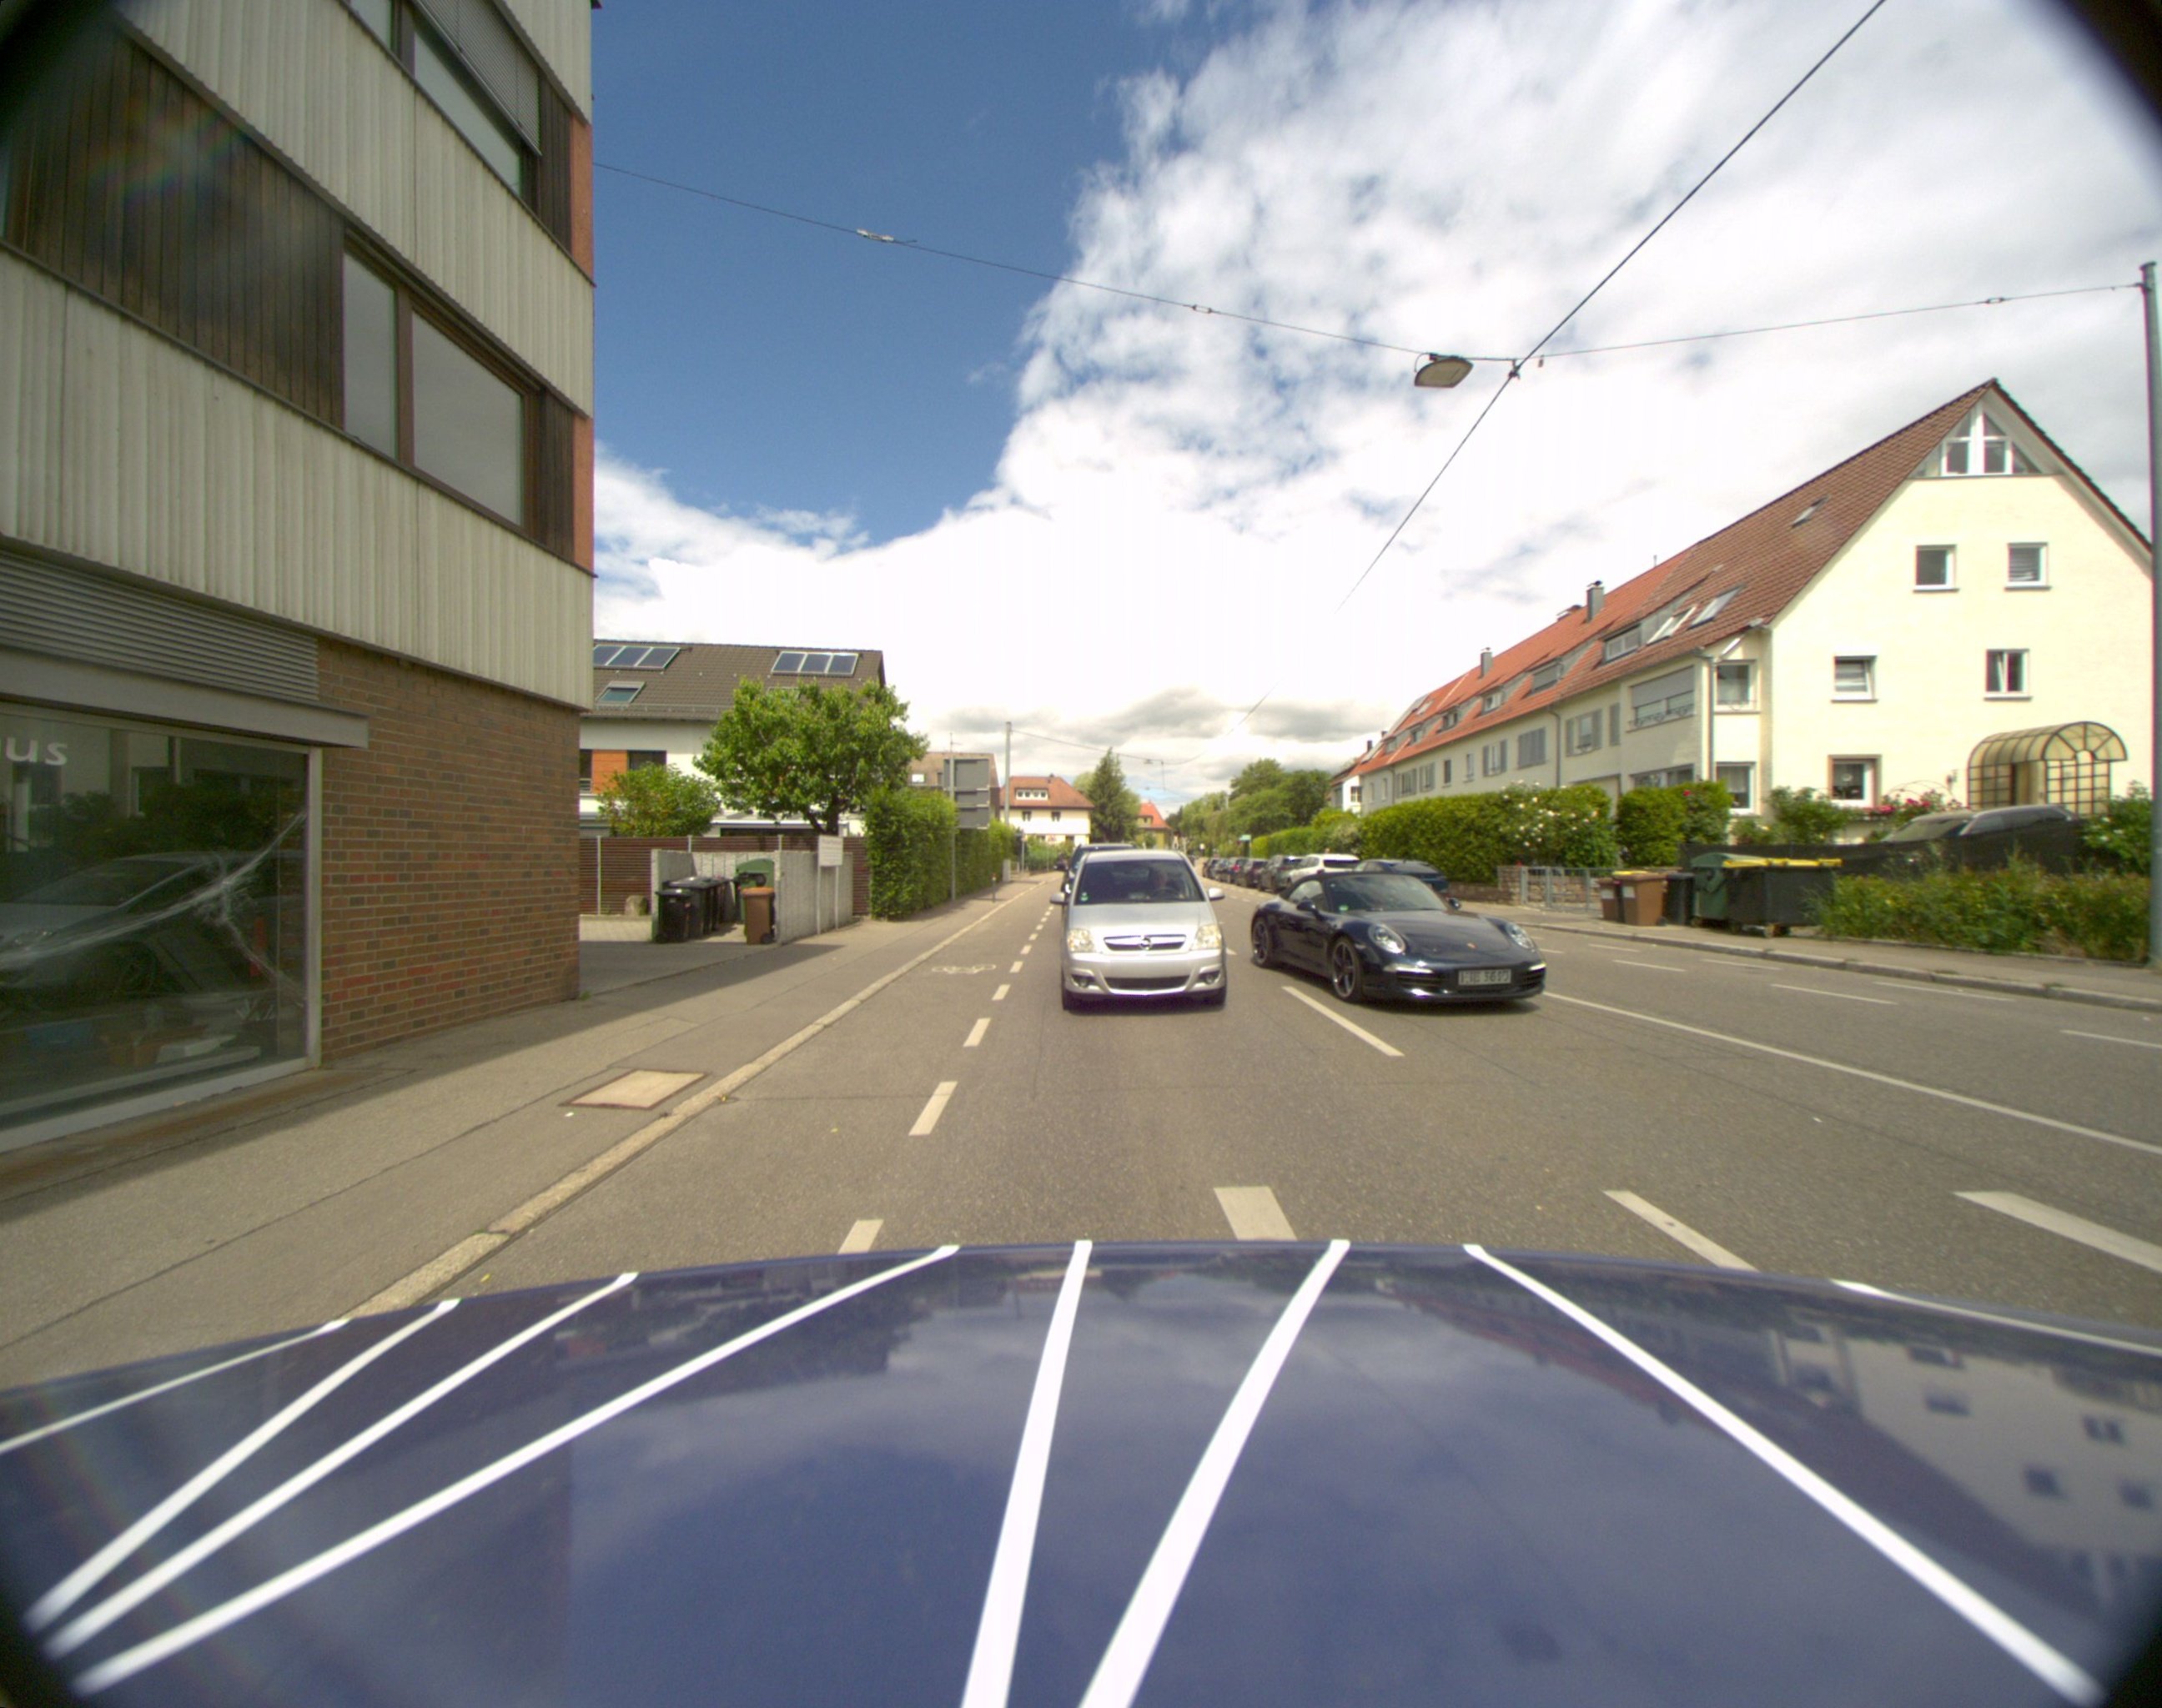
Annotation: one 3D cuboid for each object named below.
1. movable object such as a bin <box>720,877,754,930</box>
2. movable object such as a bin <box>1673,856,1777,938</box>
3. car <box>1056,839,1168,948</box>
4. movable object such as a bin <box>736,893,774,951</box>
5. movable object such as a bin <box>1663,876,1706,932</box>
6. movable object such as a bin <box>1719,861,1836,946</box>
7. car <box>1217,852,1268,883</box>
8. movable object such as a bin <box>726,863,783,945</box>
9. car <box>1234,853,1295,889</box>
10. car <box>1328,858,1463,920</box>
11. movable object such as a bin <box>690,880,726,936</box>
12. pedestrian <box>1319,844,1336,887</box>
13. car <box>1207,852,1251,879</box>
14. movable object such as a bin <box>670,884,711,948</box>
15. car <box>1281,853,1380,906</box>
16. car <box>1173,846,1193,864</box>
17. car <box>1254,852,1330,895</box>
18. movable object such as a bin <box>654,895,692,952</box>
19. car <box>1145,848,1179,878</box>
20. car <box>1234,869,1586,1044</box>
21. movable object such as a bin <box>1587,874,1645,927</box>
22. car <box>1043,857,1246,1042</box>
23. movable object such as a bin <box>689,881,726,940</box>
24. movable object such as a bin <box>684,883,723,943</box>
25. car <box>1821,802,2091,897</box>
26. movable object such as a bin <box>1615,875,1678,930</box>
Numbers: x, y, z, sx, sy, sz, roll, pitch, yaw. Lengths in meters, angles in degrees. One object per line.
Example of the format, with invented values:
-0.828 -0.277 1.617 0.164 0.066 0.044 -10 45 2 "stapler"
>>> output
-7.291 1.046 16.129 0.596 1.069 0.488 -1 1 -19 "movable object such as a bin"
11.956 0.774 14.142 1.092 1.438 0.980 -1 1 0 "movable object such as a bin"
0.481 0.666 15.637 1.887 1.838 5.219 -1 0 -1 "car"
-5.504 1.138 12.857 0.519 0.916 0.478 -1 1 -18 "movable object such as a bin"
11.973 0.975 15.071 0.657 1.059 0.522 -2 1 -38 "movable object such as a bin"
11.874 0.821 12.989 1.092 1.354 0.980 -1 1 0 "movable object such as a bin"
9.048 0.730 42.837 1.998 1.623 4.236 -1 0 0 "car"
-5.912 0.897 13.782 0.809 1.446 0.479 -1 1 -4 "movable object such as a bin"
8.886 0.785 37.114 1.998 1.623 4.236 0 0 0 "car"
8.713 0.892 21.510 1.819 1.493 4.452 -1 0 -2 "car"
-7.431 1.067 15.167 0.596 1.069 0.488 -1 1 -24 "movable object such as a bin"
10.347 0.480 31.903 0.533 1.805 0.511 -1 1 -4 "pedestrian"
9.350 0.691 48.432 1.998 1.623 4.236 -1 0 0 "car"
-6.986 1.097 13.607 0.596 1.069 0.488 -1 1 -24 "movable object such as a bin"
8.599 0.819 26.626 1.998 1.623 4.453 -1 0 0 "car"
11.626 0.087 86.291 1.997 1.903 4.072 -1 0 11 "car"
8.731 0.752 31.826 1.998 1.623 4.236 -1 0 0 "car"
-6.980 1.180 13.024 0.519 0.916 0.478 -1 1 -24 "movable object such as a bin"
5.367 0.559 50.954 1.998 1.903 4.069 -1 0 3 "car"
3.281 0.914 8.586 1.816 1.356 4.041 -1 0 -8 "car"
11.250 0.971 16.001 0.763 1.059 0.693 -1 1 7 "movable object such as a bin"
0.579 0.857 8.730 1.774 1.566 4.001 -1 0 0 "car"
-7.203 1.081 14.683 0.596 1.069 0.488 -1 1 -24 "movable object such as a bin"
-7.037 1.086 14.193 0.596 1.069 0.488 -1 1 -24 "movable object such as a bin"
20.261 -0.108 17.755 3.997 2.002 2.000 -1 1 0 "car"
11.327 0.962 15.232 0.763 1.059 0.693 -1 1 7 "movable object such as a bin"
